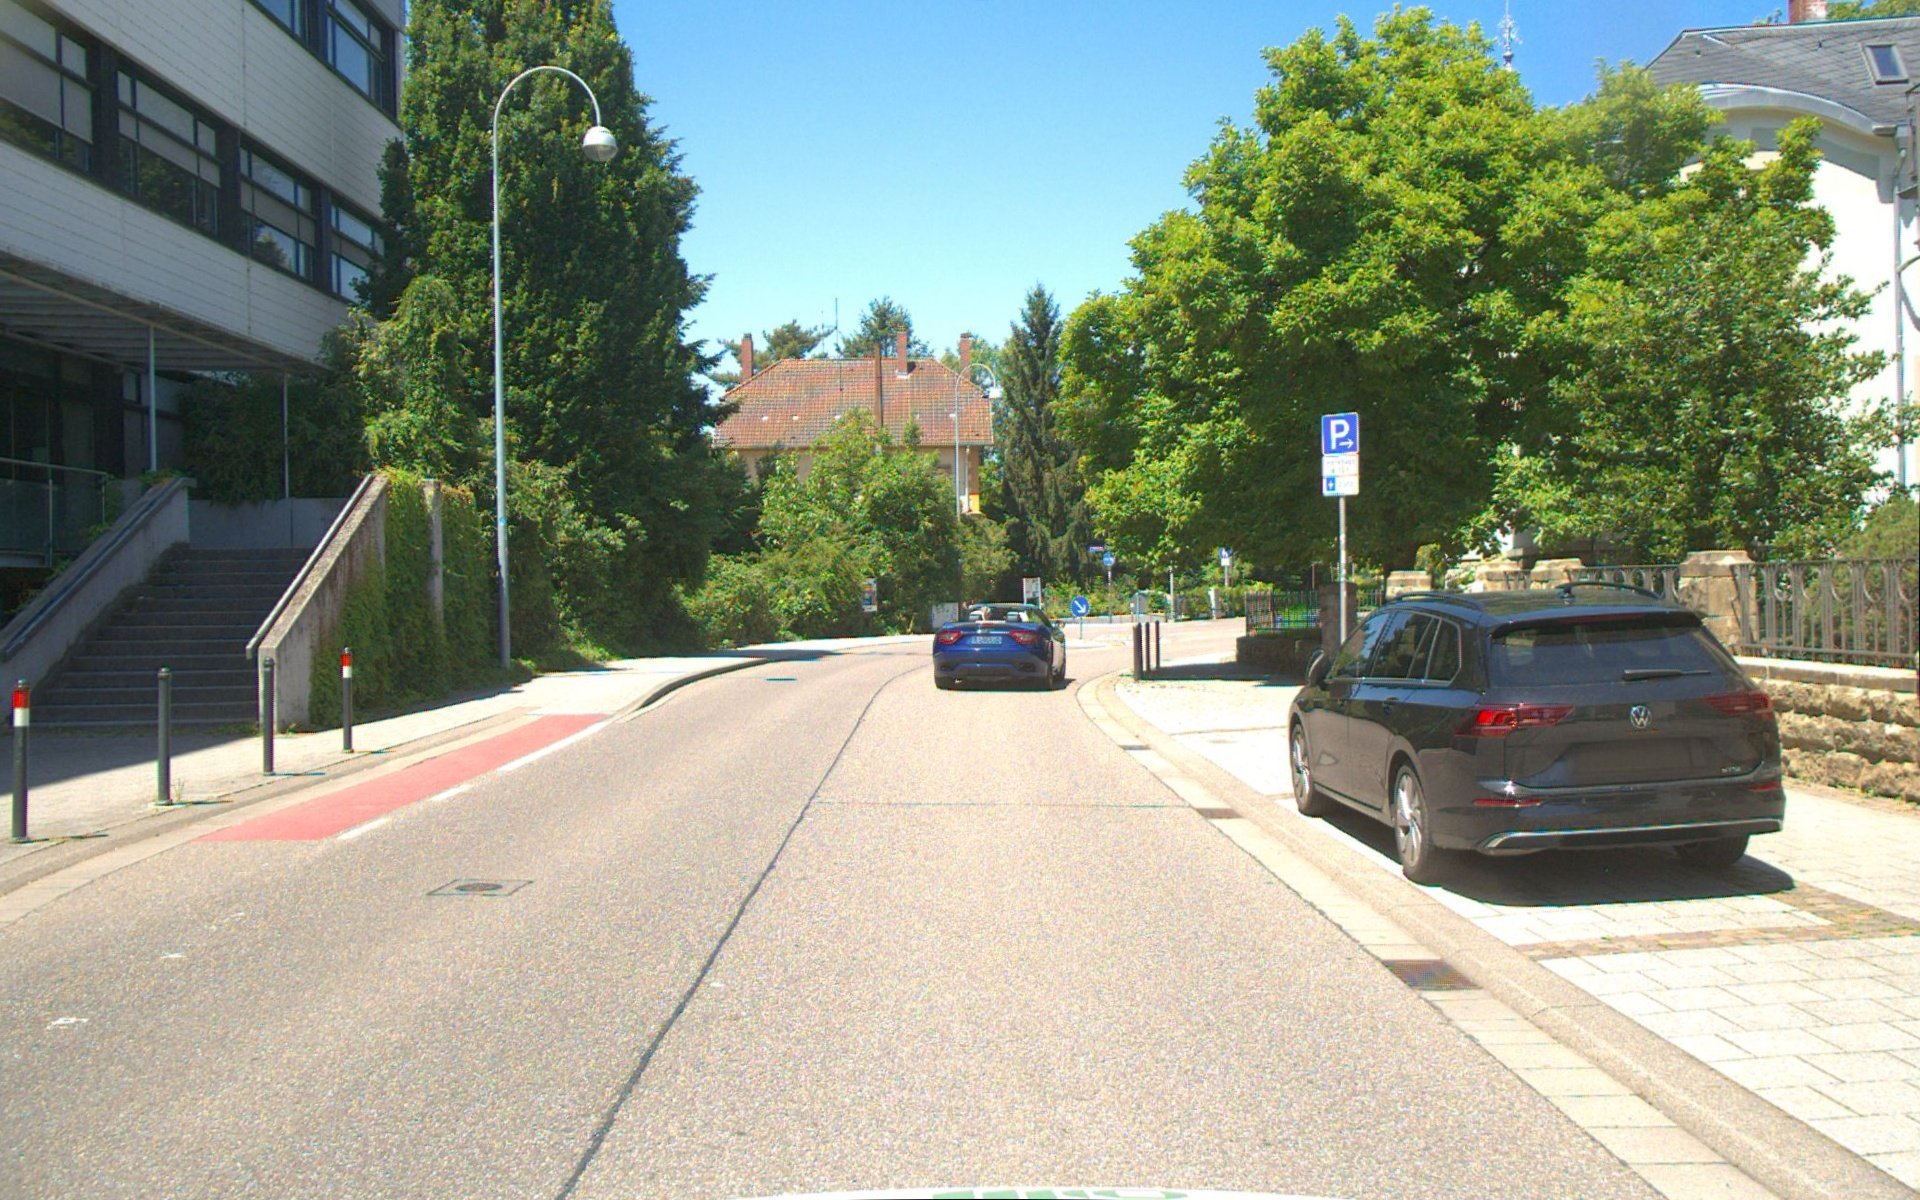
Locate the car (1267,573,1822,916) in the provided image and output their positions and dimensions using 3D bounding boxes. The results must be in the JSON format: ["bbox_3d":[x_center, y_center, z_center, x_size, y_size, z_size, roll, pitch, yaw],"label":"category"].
[{"bbox_3d":[3.097,0.652,9.792,1.599,1.471,4.397,-4,0,-1],"label":"car"}]

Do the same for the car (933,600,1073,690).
[{"bbox_3d":[0.811,0.690,27.561,1.788,1.360,4.704,0,0,8],"label":"car"}]
